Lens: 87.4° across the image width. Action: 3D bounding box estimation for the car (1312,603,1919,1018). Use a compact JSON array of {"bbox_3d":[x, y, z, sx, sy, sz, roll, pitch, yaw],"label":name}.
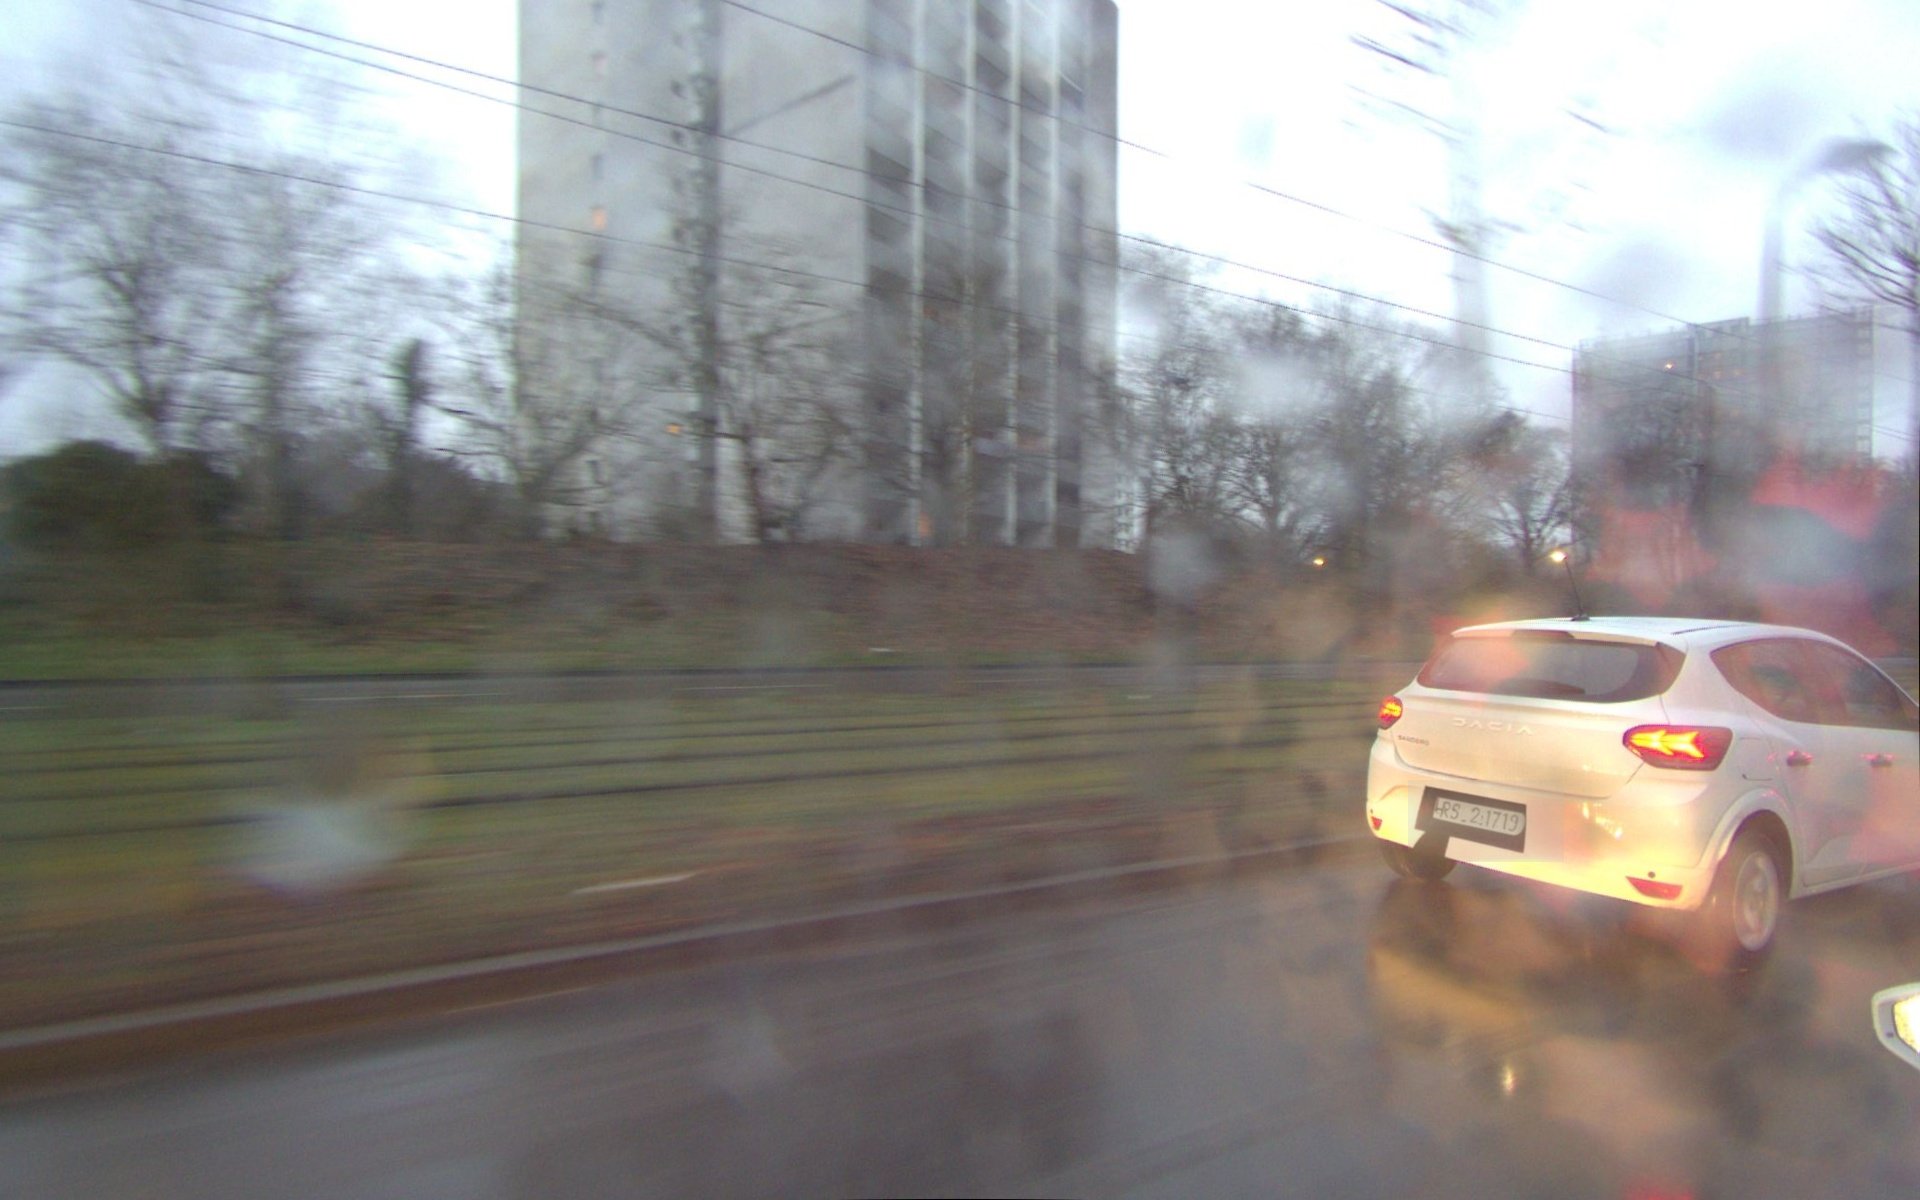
[{"bbox_3d":[4.015,0.832,5.528,4.086,1.545,1.700,1,-1,-30],"label":"car"}]
